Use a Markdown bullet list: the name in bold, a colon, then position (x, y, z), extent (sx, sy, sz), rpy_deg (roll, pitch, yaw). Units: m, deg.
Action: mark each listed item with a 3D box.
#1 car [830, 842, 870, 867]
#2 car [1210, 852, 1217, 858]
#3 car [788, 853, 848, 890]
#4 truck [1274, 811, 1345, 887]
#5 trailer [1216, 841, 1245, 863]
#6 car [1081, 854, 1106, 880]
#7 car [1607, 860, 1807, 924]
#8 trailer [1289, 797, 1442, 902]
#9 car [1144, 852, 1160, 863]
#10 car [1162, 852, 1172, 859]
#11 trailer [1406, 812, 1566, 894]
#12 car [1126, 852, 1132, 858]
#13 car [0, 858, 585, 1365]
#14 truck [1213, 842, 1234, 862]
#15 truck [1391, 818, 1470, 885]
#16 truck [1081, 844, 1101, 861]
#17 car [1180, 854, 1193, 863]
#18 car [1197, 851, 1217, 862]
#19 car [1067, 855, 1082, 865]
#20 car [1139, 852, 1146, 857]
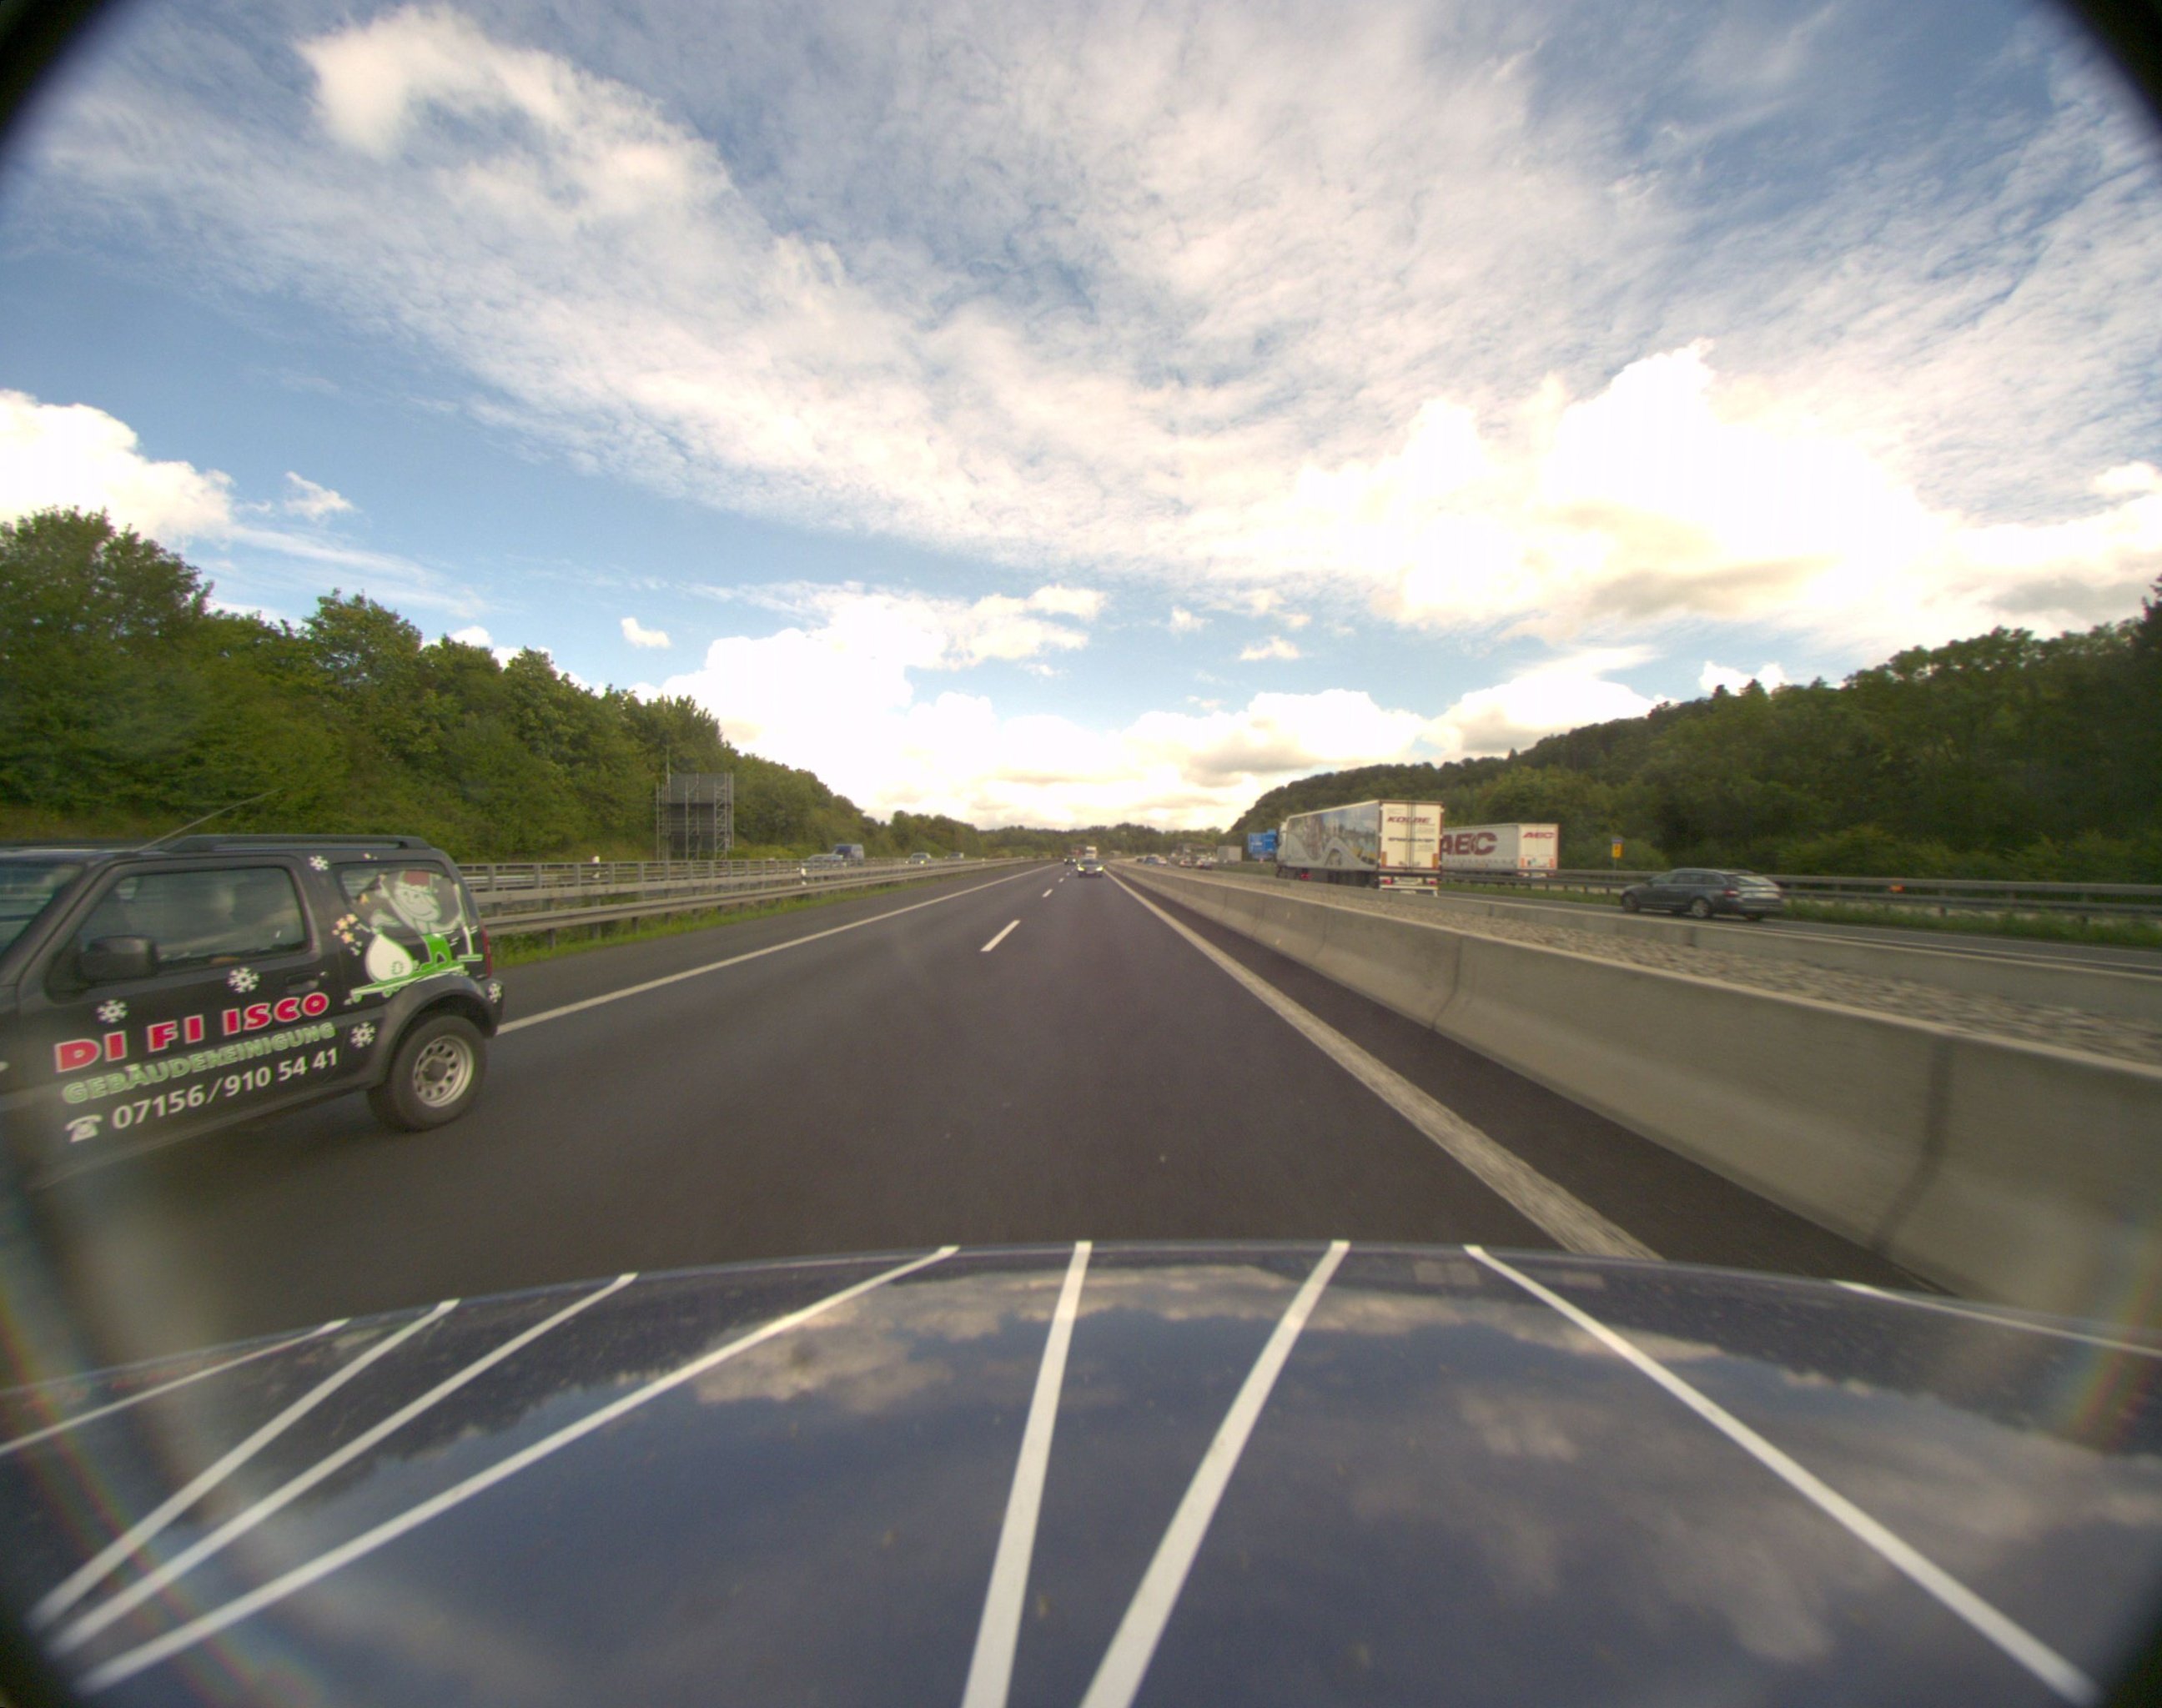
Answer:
- **car**: position (-20.535, 0.012, 67.729), extent (1.999, 2.173, 5.127), rpy_deg (0, 1, 0)
- **car**: position (44.495, 0.277, 255.968), extent (2.171, 1.912, 5.159), rpy_deg (1, 1, 8)
- **car**: position (-15.265, 0.966, 44.313), extent (1.998, 2.002, 4.000), rpy_deg (1, 1, 1)
- **truck**: position (13.121, -0.273, 44.036), extent (2.494, 4.105, 5.298), rpy_deg (1, 1, 1)
- **trailer**: position (29.627, -0.448, 151.424), extent (3.159, 4.070, 13.385), rpy_deg (1, 1, 1)
- **car**: position (0.956, 0.917, 55.392), extent (1.724, 1.722, 3.939), rpy_deg (0, 1, 2)
- **car**: position (18.722, 1.055, 23.126), extent (1.998, 1.608, 5.002), rpy_deg (1, 1, 1)
- **trailer**: position (13.047, -0.225, 36.612), extent (2.494, 4.105, 13.282), rpy_deg (1, 1, 1)
- **car**: position (10.103, 0.496, 108.518), extent (1.852, 1.486, 4.972), rpy_deg (1, 1, 1)
- **car**: position (19.369, 0.303, 171.100), extent (1.802, 1.621, 4.754), rpy_deg (1, 1, 2)
- **trailer**: position (28.817, -0.127, 55.532), extent (3.117, 5.130, 14.713), rpy_deg (1, 1, -3)
- **car**: position (13.981, 0.383, 222.305), extent (1.754, 1.621, 4.841), rpy_deg (1, 1, 2)
- **car**: position (-4.566, 0.912, 3.508), extent (1.670, 1.722, 4.207), rpy_deg (0, 1, 2)
- **truck**: position (29.758, -0.523, 158.764), extent (3.159, 4.042, 6.286), rpy_deg (1, 1, 1)
- **truck**: position (28.463, -0.205, 62.216), extent (3.034, 5.112, 6.627), rpy_deg (1, 1, -3)
- **truck**: position (2.809, -0.421, 206.562), extent (4.947, 4.306, 14.630), rpy_deg (1, 1, 2)
- **car**: position (18.617, 0.846, 133.800), extent (1.649, 1.486, 4.996), rpy_deg (1, 1, 1)
- **car**: position (17.316, 0.308, 104.810), extent (1.947, 1.486, 5.306), rpy_deg (1, 1, 1)
- **car**: position (-1.101, 1.010, 128.178), extent (1.997, 1.591, 4.002), rpy_deg (1, 1, 7)
- **car**: position (19.965, 0.146, 247.406), extent (1.752, 1.621, 4.844), rpy_deg (1, 1, 10)
